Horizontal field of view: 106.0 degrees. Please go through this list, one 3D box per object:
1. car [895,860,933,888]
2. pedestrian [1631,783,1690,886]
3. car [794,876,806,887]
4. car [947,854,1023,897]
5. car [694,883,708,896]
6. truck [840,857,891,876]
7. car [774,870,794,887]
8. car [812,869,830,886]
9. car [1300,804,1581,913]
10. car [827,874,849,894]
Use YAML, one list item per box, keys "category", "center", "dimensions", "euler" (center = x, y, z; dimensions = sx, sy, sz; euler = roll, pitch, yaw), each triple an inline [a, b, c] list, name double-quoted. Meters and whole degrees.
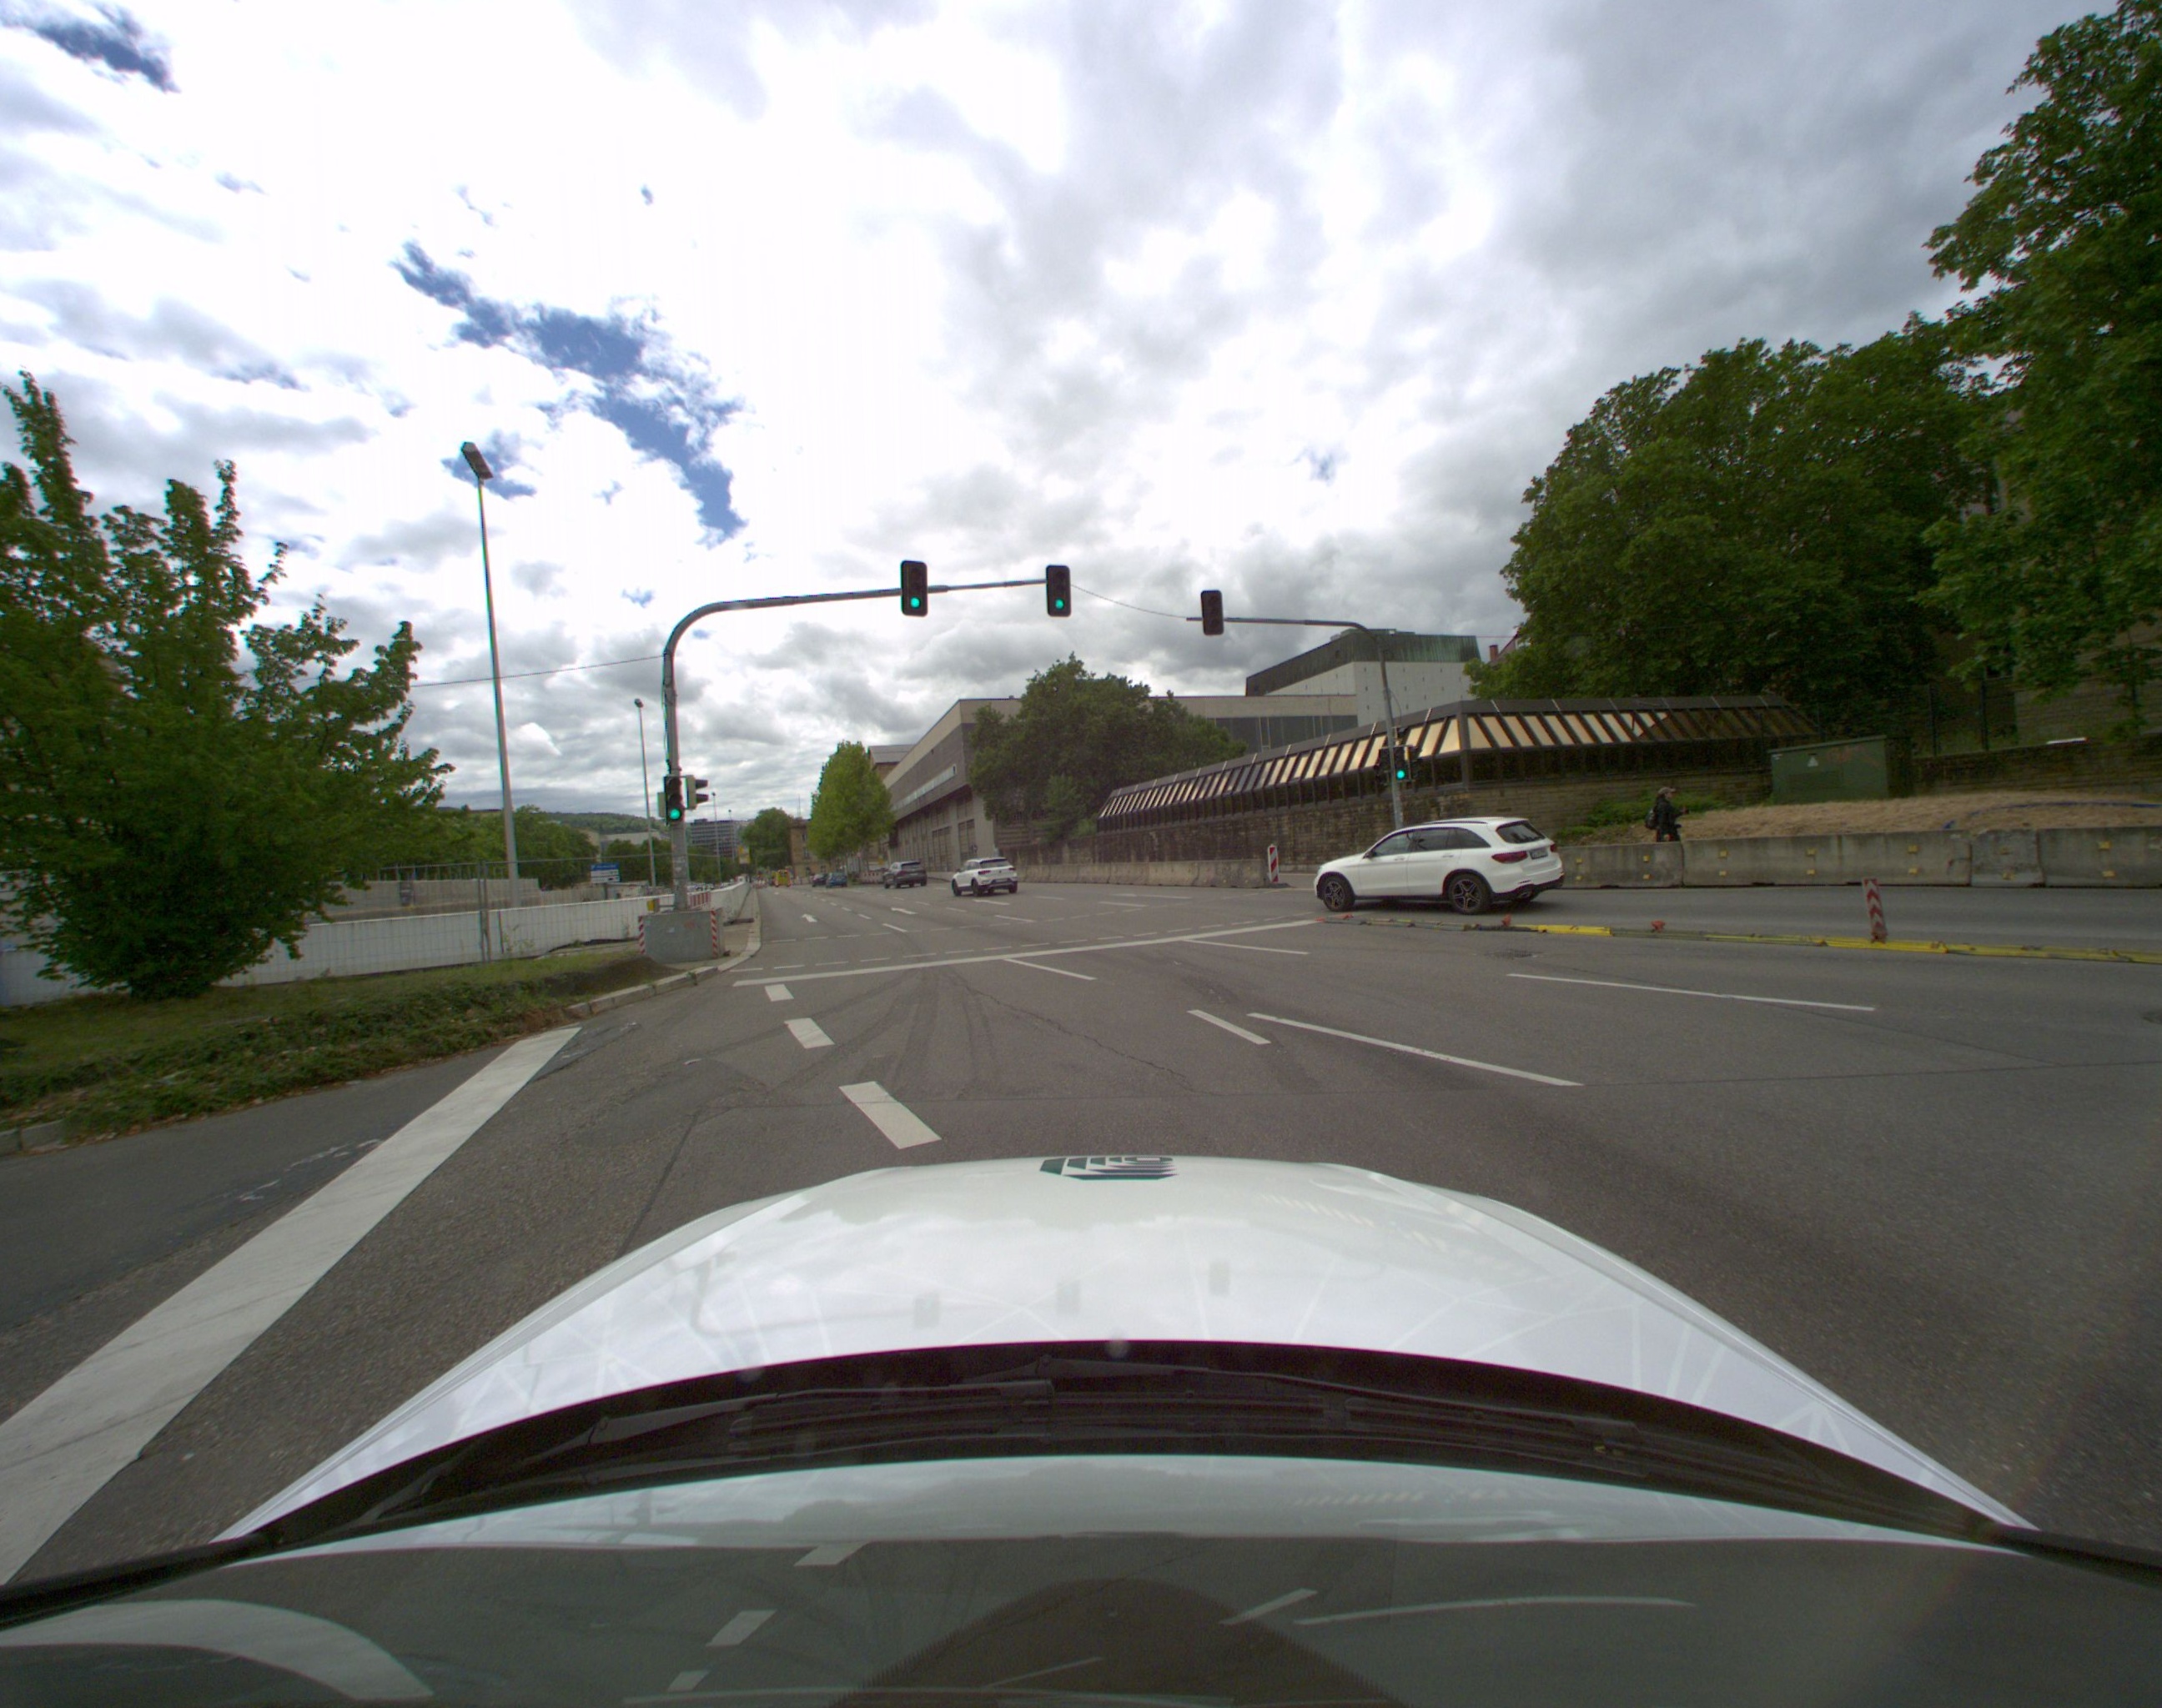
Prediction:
- category: "car"
  center: [-10.771, 1.256, 52.821]
  dimensions: [1.821, 1.567, 4.470]
  euler: [-5, 0, -6]
- category: "pedestrian"
  center: [11.849, -0.389, 16.651]
  dimensions: [0.840, 2.013, 0.627]
  euler: [-4, -1, 38]
- category: "car"
  center: [-53.011, 5.159, 153.505]
  dimensions: [1.828, 1.740, 4.453]
  euler: [-5, 0, -17]
- category: "car"
  center: [-4.173, 0.902, 34.749]
  dimensions: [1.761, 1.567, 4.293]
  euler: [-6, 1, -27]
- category: "car"
  center: [-68.661, 6.438, 147.336]
  dimensions: [2.002, 2.013, 3.970]
  euler: [-5, 1, -23]
- category: "truck"
  center: [-46.481, 2.661, 175.705]
  dimensions: [10.071, 3.050, 2.550]
  euler: [-5, -1, -22]
- category: "car"
  center: [-48.504, 3.993, 133.090]
  dimensions: [2.590, 2.374, 5.492]
  euler: [-5, 0, -18]
- category: "car"
  center: [-30.189, 2.735, 94.607]
  dimensions: [1.828, 1.740, 4.453]
  euler: [-5, 0, -17]
- category: "car"
  center: [6.580, 0.134, 15.449]
  dimensions: [1.825, 1.642, 4.504]
  euler: [-7, 1, -33]
- category: "car"
  center: [-23.385, 2.855, 78.412]
  dimensions: [1.828, 1.740, 4.453]
  euler: [-5, 0, -17]
